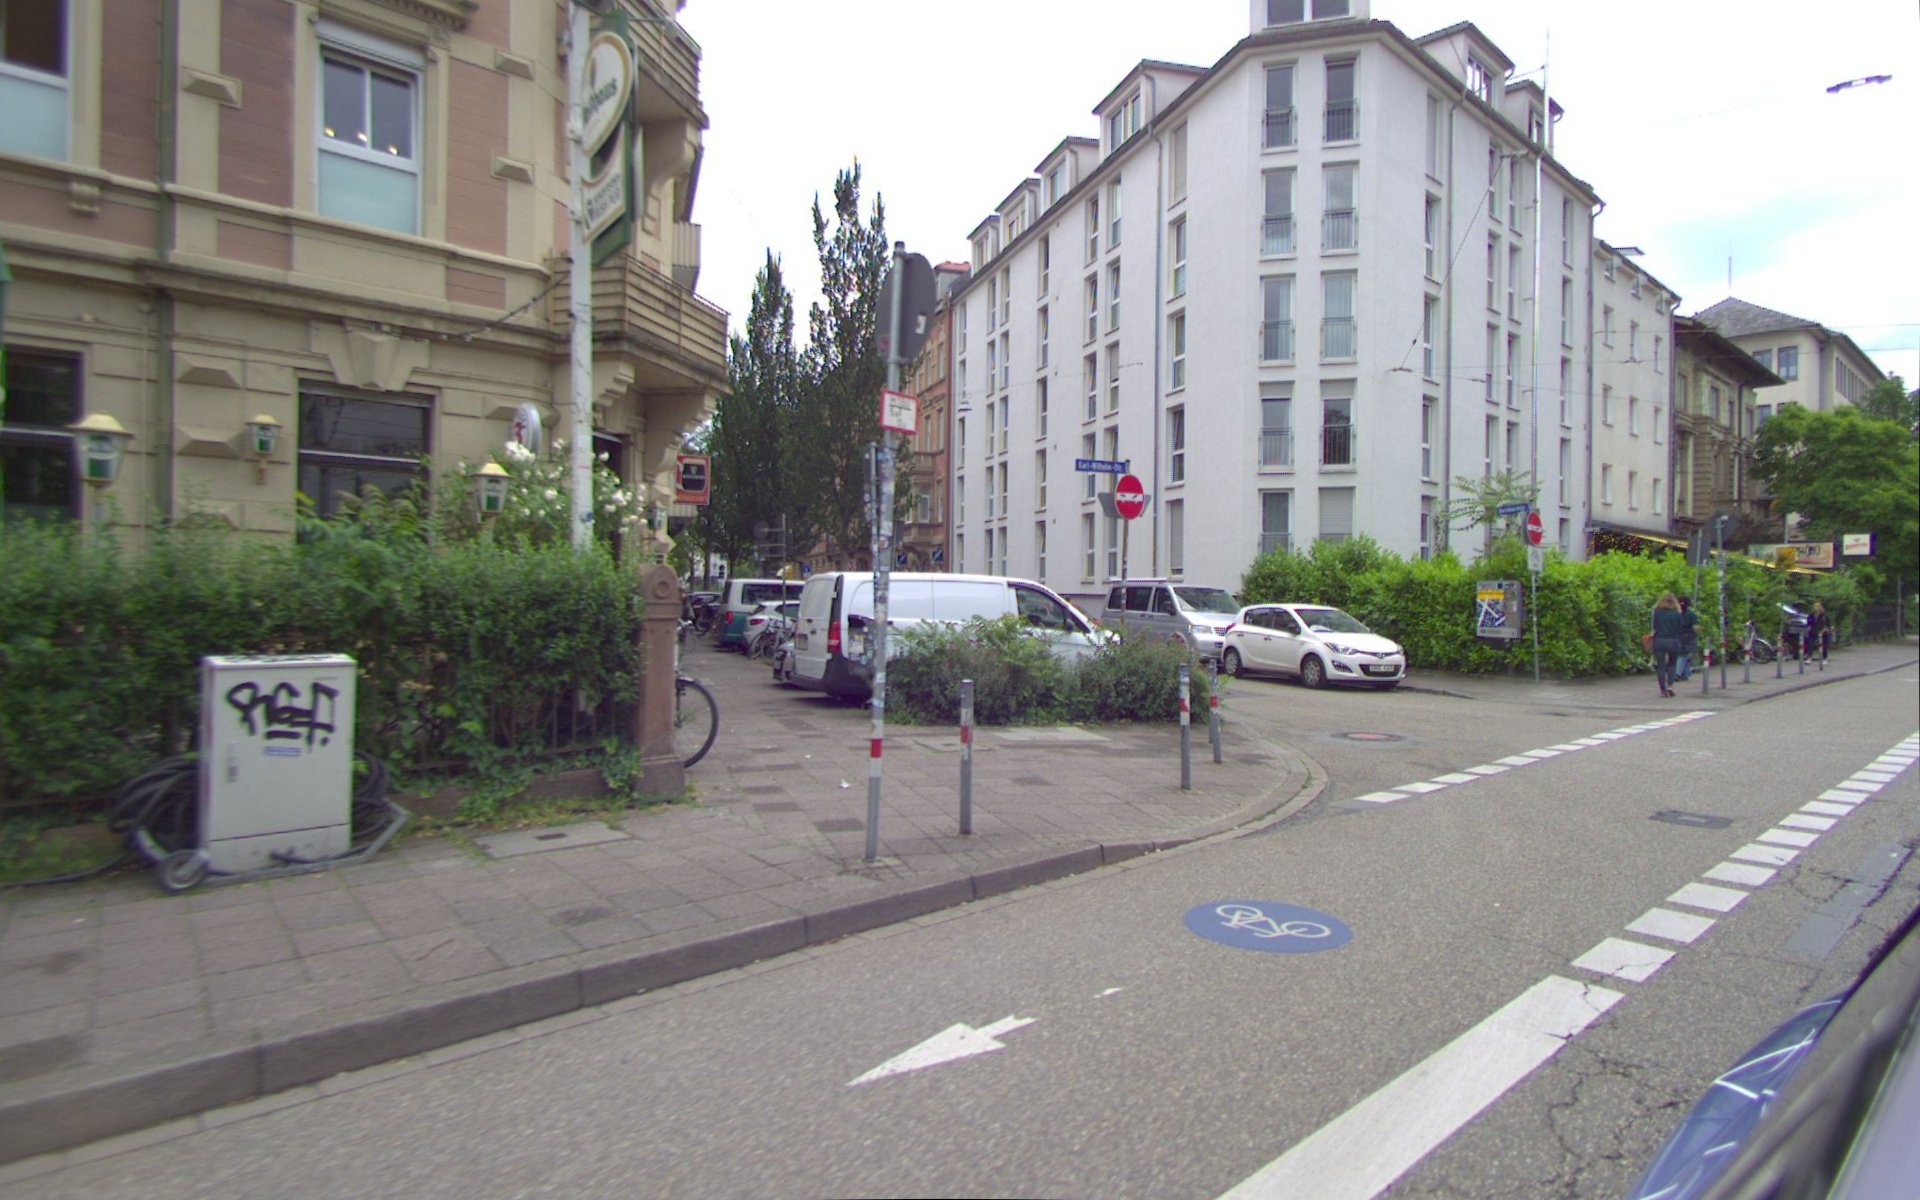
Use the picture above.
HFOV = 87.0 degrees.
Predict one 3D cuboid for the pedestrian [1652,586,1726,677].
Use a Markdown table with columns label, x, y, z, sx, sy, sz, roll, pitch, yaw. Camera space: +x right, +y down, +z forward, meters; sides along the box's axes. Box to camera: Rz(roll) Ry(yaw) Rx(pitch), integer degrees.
| label | x | y | z | sx | sy | sz | roll | pitch | yaw |
| --- | --- | --- | --- | --- | --- | --- | --- | --- | --- |
| pedestrian | 13.694 | 0.566 | 19.025 | 0.819 | 1.656 | 0.797 | 0 | 2 | -25 |

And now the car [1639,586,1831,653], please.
| label | x | y | z | sx | sy | sz | roll | pitch | yaw |
| --- | --- | --- | --- | --- | --- | --- | --- | --- | --- |
| car | 23.300 | 0.533 | 30.556 | 1.790 | 1.832 | 4.291 | 1 | 1 | -38 |

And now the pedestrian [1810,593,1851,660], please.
| label | x | y | z | sx | sy | sz | roll | pitch | yaw |
| --- | --- | --- | --- | --- | --- | --- | --- | --- | --- |
| pedestrian | 22.872 | 0.674 | 26.587 | 0.943 | 1.691 | 0.624 | 1 | 3 | -42 |

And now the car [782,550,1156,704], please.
| label | x | y | z | sx | sy | sz | roll | pitch | yaw |
| --- | --- | --- | --- | --- | --- | --- | --- | --- | --- |
| car | 0.144 | 0.331 | 14.467 | 4.924 | 1.901 | 2.062 | 0 | 0 | -24 |

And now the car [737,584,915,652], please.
| label | x | y | z | sx | sy | sz | roll | pitch | yaw |
| --- | --- | --- | --- | --- | --- | --- | --- | --- | --- |
| car | -3.348 | 0.394 | 25.107 | 4.126 | 1.539 | 1.778 | -1 | 1 | -17 |

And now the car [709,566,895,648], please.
| label | x | y | z | sx | sy | sz | roll | pitch | yaw |
| --- | --- | --- | --- | --- | --- | --- | --- | --- | --- |
| car | -4.253 | 0.129 | 27.176 | 4.689 | 2.070 | 1.899 | -1 | 1 | -19 |

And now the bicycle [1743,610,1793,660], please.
| label | x | y | z | sx | sy | sz | roll | pitch | yaw |
| --- | --- | --- | --- | --- | --- | --- | --- | --- | --- |
| bicycle | 20.023 | 0.855 | 25.070 | 1.781 | 1.142 | 0.634 | 1 | 2 | -41 |

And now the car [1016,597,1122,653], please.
| label | x | y | z | sx | sy | sz | roll | pitch | yaw |
| --- | --- | --- | --- | --- | --- | --- | --- | --- | --- |
| car | 3.060 | 0.686 | 29.200 | 1.534 | 1.471 | 3.831 | 1 | 0 | -19 |

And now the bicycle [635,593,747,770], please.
| label | x | y | z | sx | sy | sz | roll | pitch | yaw |
| --- | --- | --- | --- | --- | --- | --- | --- | --- | --- |
| bicycle | -2.225 | 0.593 | 8.251 | 0.502 | 1.293 | 1.612 | 0 | 0 | -29 |

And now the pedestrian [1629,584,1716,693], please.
| label | x | y | z | sx | sy | sz | roll | pitch | yaw |
| --- | --- | --- | --- | --- | --- | --- | --- | --- | --- |
| pedestrian | 11.415 | 0.586 | 16.219 | 0.891 | 1.677 | 0.876 | 1 | 0 | -34 |

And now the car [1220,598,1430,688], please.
| label | x | y | z | sx | sy | sz | roll | pitch | yaw |
| --- | --- | --- | --- | --- | --- | --- | --- | --- | --- |
| car | 6.612 | 0.723 | 18.779 | 1.636 | 1.449 | 3.829 | 1 | 0 | -18 |

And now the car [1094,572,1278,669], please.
| label | x | y | z | sx | sy | sz | roll | pitch | yaw |
| --- | --- | --- | --- | --- | --- | --- | --- | --- | --- |
| car | 5.046 | 0.411 | 23.364 | 1.934 | 1.963 | 4.755 | 2 | 0 | -18 |
